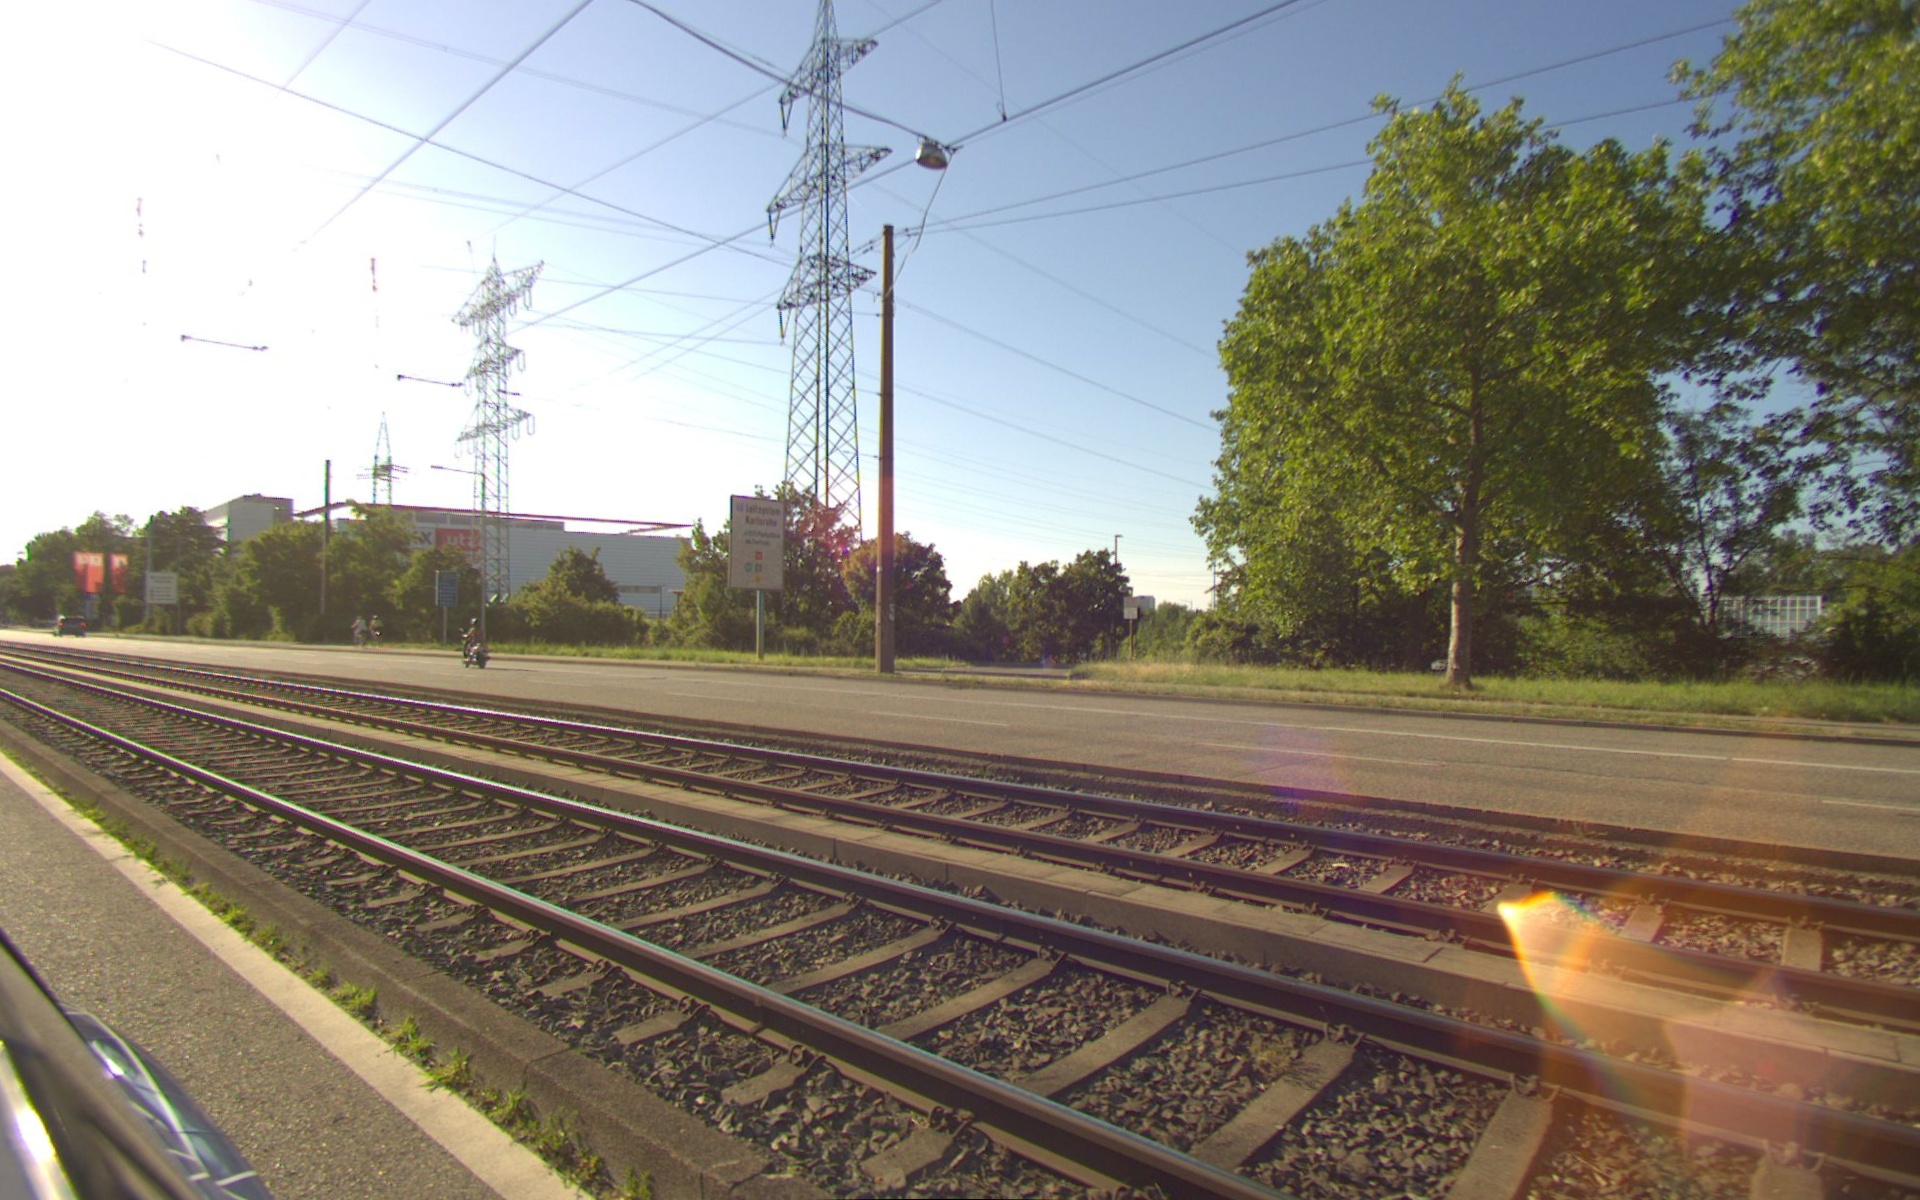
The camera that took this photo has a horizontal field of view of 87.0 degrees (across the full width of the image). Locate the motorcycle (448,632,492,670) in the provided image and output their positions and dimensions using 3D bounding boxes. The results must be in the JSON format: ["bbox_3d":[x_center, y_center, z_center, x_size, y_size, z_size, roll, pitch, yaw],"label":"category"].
[{"bbox_3d":[-15.271,1.580,31.517,1.901,1.099,0.530,-1,1,41],"label":"motorcycle"}]

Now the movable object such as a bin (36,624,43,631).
[{"bbox_3d":[-129.785,3.922,142.683,1.083,0.973,0.606,-1,1,42],"label":"movable object such as a bin"}]

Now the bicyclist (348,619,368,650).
[{"bbox_3d":[-31.360,1.787,52.699,0.966,1.623,0.584,-1,-2,41],"label":"bicyclist"}]

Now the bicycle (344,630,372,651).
[{"bbox_3d":[-31.399,2.108,52.735,2.184,1.029,0.584,-1,-2,41],"label":"bicycle"}]

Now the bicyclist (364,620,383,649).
[{"bbox_3d":[-31.536,1.829,54.385,0.905,1.540,0.584,-1,-2,41],"label":"bicyclist"}]

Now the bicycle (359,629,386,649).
[{"bbox_3d":[-31.591,2.097,54.424,2.184,1.029,0.584,-1,-2,41],"label":"bicycle"}]

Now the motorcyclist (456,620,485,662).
[{"bbox_3d":[-15.248,1.268,31.499,0.805,1.280,0.530,-1,0,41],"label":"motorcyclist"}]

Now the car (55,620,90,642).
[{"bbox_3d":[-83.409,2.899,95.048,4.860,1.937,1.972,-3,-4,43],"label":"car"}]
